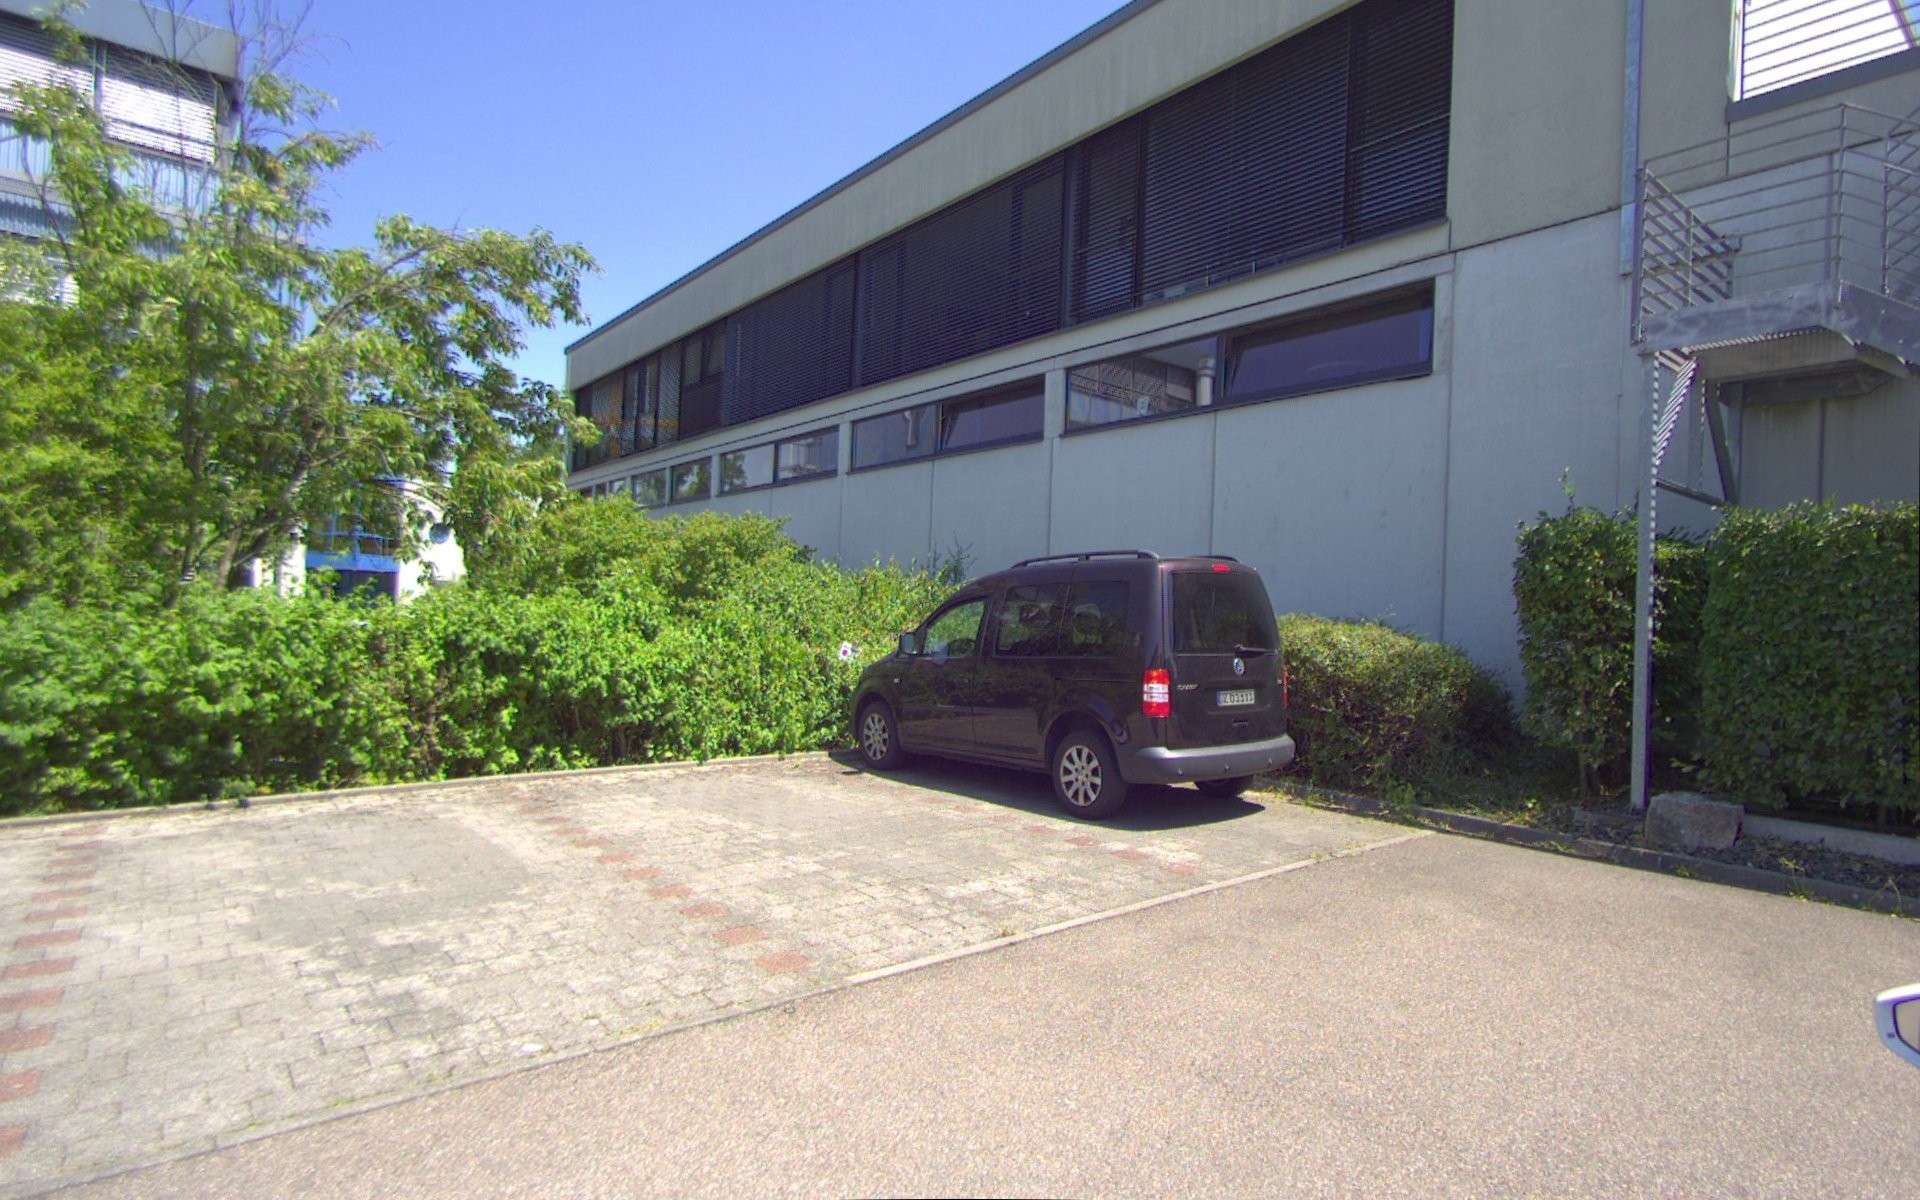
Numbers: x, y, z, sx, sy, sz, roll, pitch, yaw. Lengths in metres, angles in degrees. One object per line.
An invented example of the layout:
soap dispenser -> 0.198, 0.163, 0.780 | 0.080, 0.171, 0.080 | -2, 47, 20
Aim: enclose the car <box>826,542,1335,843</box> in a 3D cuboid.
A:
car -> 0.761, 0.587, 8.511 | 1.853, 1.885, 4.181 | 1, -1, -39
